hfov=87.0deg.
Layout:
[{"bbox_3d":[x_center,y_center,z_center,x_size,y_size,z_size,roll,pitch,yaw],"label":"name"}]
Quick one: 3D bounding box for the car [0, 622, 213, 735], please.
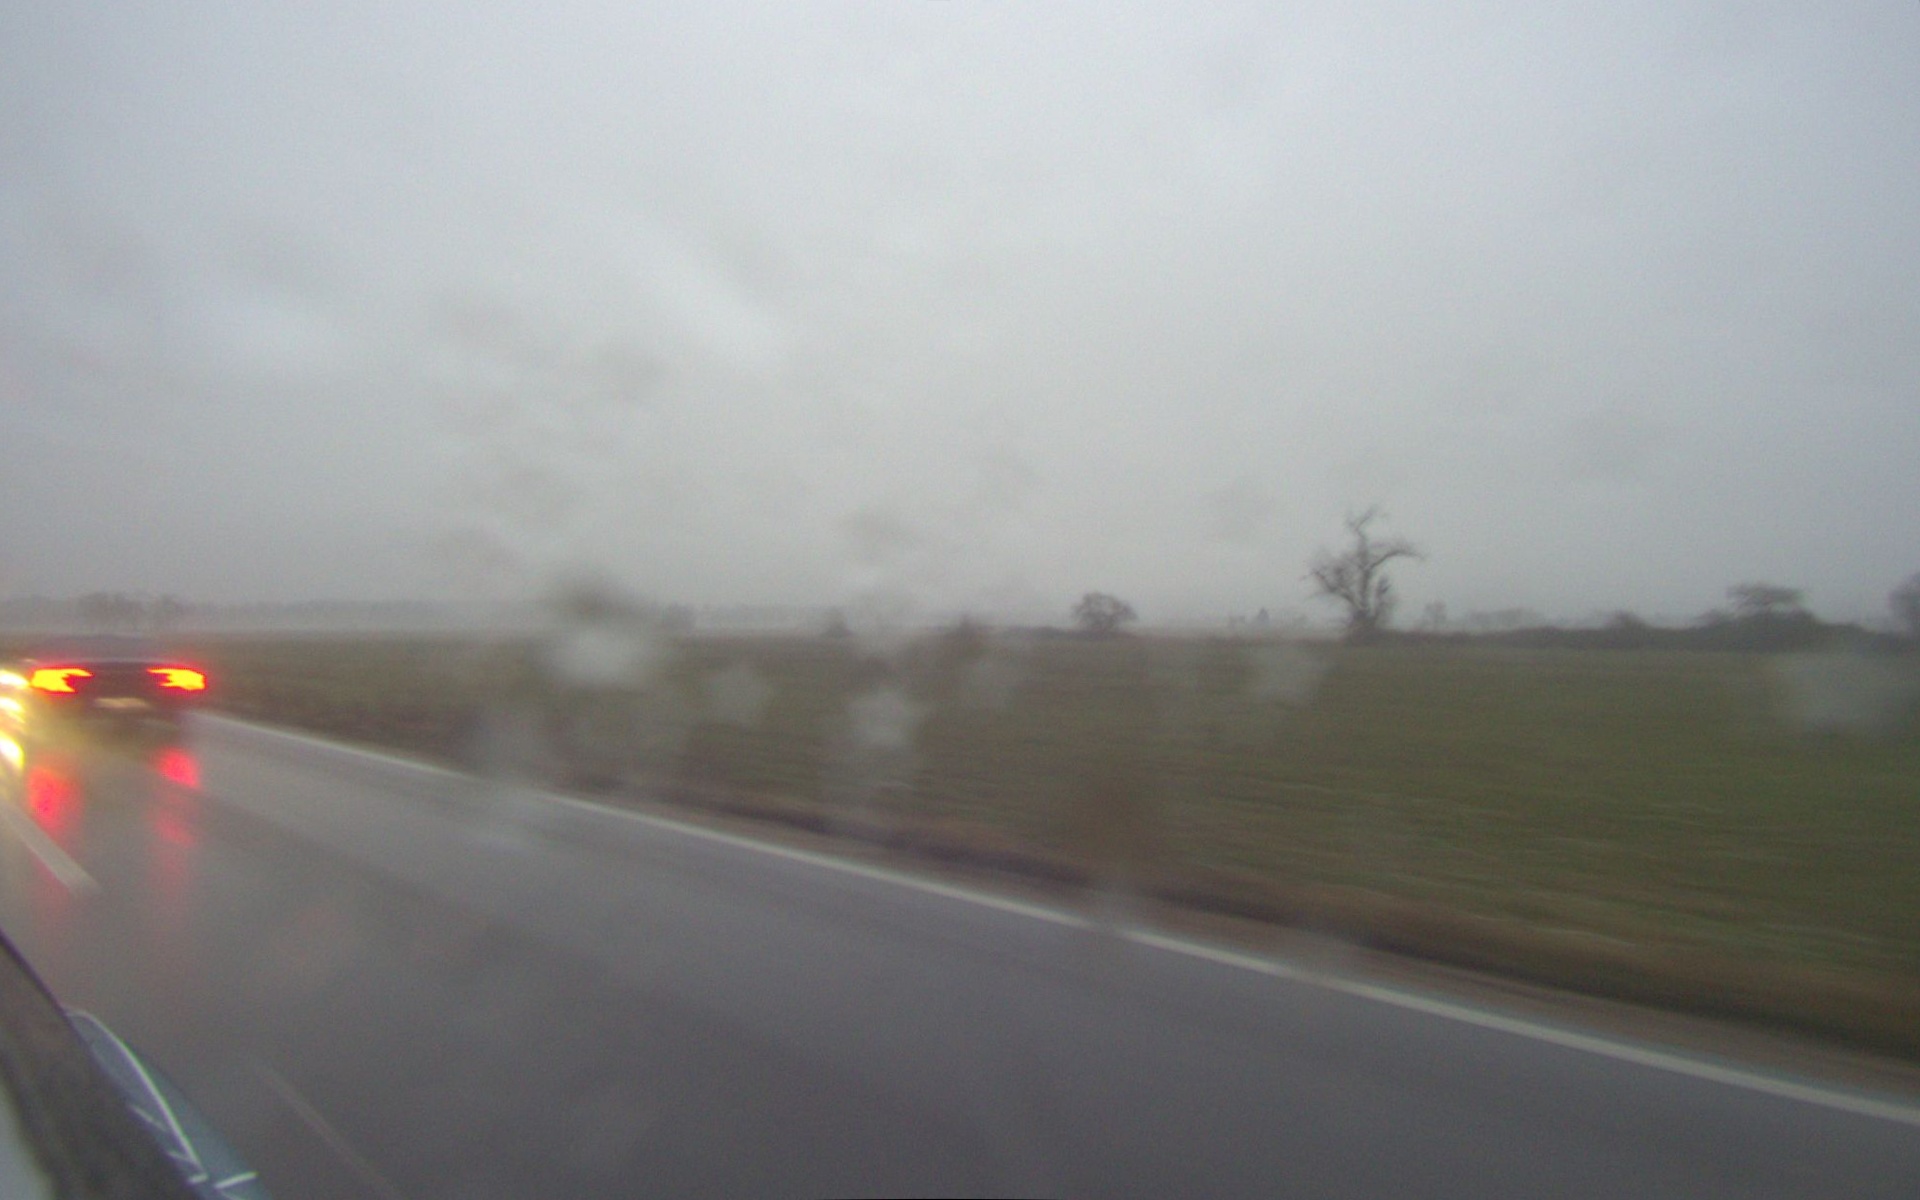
[{"bbox_3d":[-12.784,1.030,14.923,4.396,1.382,1.973,-1,-1,41],"label":"car"}]
